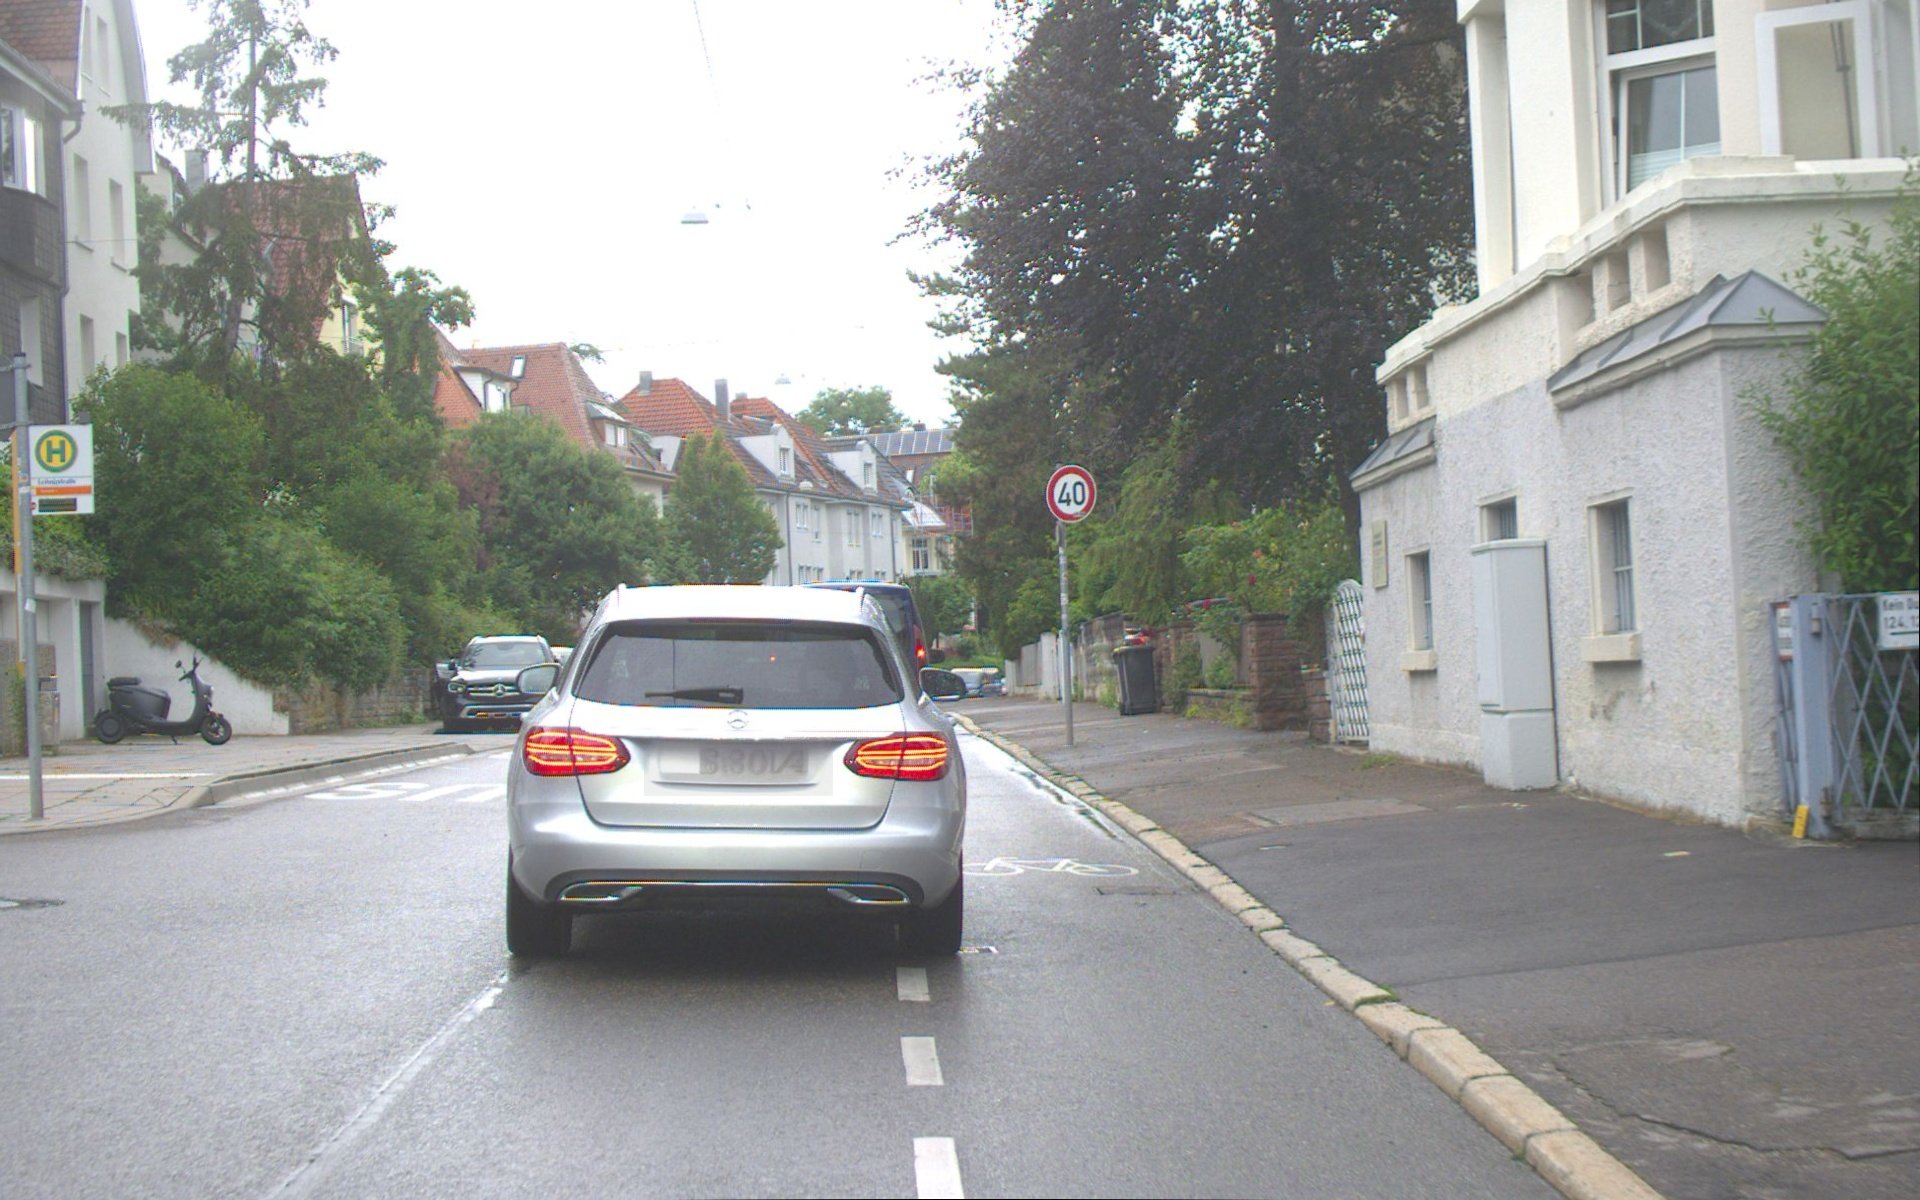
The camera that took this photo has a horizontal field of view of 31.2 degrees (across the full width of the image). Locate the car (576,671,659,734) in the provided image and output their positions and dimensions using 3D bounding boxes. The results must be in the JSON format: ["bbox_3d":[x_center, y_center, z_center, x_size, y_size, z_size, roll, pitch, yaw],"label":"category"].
[{"bbox_3d":[-8.333,2.491,83.915,1.694,1.442,3.813,-1,-1,-1],"label":"car"}]

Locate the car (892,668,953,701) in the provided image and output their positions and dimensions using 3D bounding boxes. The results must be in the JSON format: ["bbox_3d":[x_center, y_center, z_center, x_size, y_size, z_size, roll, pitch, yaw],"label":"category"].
[{"bbox_3d":[-1.650,3.712,152.043,1.644,1.412,4.609,-1,-1,13],"label":"car"}]

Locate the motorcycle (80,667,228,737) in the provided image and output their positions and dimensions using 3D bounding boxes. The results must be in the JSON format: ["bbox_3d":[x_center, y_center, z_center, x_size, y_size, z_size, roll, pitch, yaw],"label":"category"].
[{"bbox_3d":[-10.564,1.334,45.098,1.794,0.900,0.603,1,-1,-2],"label":"motorcycle"}]

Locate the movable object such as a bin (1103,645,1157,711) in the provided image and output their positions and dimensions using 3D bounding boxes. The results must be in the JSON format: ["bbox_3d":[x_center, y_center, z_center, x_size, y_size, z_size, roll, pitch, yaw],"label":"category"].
[{"bbox_3d":[2.267,1.036,45.797,0.651,0.853,0.503,-1,0,-4],"label":"movable object such as a bin"}]

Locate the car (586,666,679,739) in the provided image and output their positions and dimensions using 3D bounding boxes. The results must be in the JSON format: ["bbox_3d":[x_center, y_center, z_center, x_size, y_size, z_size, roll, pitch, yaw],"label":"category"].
[{"bbox_3d":[-8.655,2.692,91.152,1.993,1.872,5.356,0,-1,0],"label":"car"}]

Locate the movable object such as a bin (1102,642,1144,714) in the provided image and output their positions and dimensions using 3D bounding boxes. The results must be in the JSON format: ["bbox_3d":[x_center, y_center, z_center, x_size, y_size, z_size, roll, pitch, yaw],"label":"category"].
[{"bbox_3d":[2.199,1.051,46.349,0.494,0.952,0.503,-1,0,-4],"label":"movable object such as a bin"}]

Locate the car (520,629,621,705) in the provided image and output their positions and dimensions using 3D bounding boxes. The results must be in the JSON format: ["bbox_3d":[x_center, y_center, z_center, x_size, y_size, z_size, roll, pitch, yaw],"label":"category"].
[{"bbox_3d":[-8.110,1.373,71.874,1.756,1.442,4.416,-1,0,-2],"label":"car"}]

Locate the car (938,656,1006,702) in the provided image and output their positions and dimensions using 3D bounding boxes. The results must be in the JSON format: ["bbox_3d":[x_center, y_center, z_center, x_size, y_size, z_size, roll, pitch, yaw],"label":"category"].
[{"bbox_3d":[0.580,3.685,159.306,1.830,2.049,5.005,-1,-2,16],"label":"car"}]

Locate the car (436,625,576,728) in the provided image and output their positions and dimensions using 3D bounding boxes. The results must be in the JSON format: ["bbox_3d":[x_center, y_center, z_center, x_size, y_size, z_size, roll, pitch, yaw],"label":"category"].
[{"bbox_3d":[-7.495,1.263,57.140,1.893,1.617,4.379,-1,-1,-2],"label":"car"}]

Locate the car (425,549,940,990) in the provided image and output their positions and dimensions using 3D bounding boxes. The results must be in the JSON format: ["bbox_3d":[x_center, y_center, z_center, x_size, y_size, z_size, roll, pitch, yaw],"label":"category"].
[{"bbox_3d":[-1.035,0.592,14.253,1.816,1.551,4.000,-1,0,-1],"label":"car"}]

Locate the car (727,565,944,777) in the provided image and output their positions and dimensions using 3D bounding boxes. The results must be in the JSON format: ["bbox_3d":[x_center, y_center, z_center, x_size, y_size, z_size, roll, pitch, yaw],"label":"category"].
[{"bbox_3d":[-1.134,0.708,33.041,1.843,1.897,3.999,-1,-2,1],"label":"car"}]
